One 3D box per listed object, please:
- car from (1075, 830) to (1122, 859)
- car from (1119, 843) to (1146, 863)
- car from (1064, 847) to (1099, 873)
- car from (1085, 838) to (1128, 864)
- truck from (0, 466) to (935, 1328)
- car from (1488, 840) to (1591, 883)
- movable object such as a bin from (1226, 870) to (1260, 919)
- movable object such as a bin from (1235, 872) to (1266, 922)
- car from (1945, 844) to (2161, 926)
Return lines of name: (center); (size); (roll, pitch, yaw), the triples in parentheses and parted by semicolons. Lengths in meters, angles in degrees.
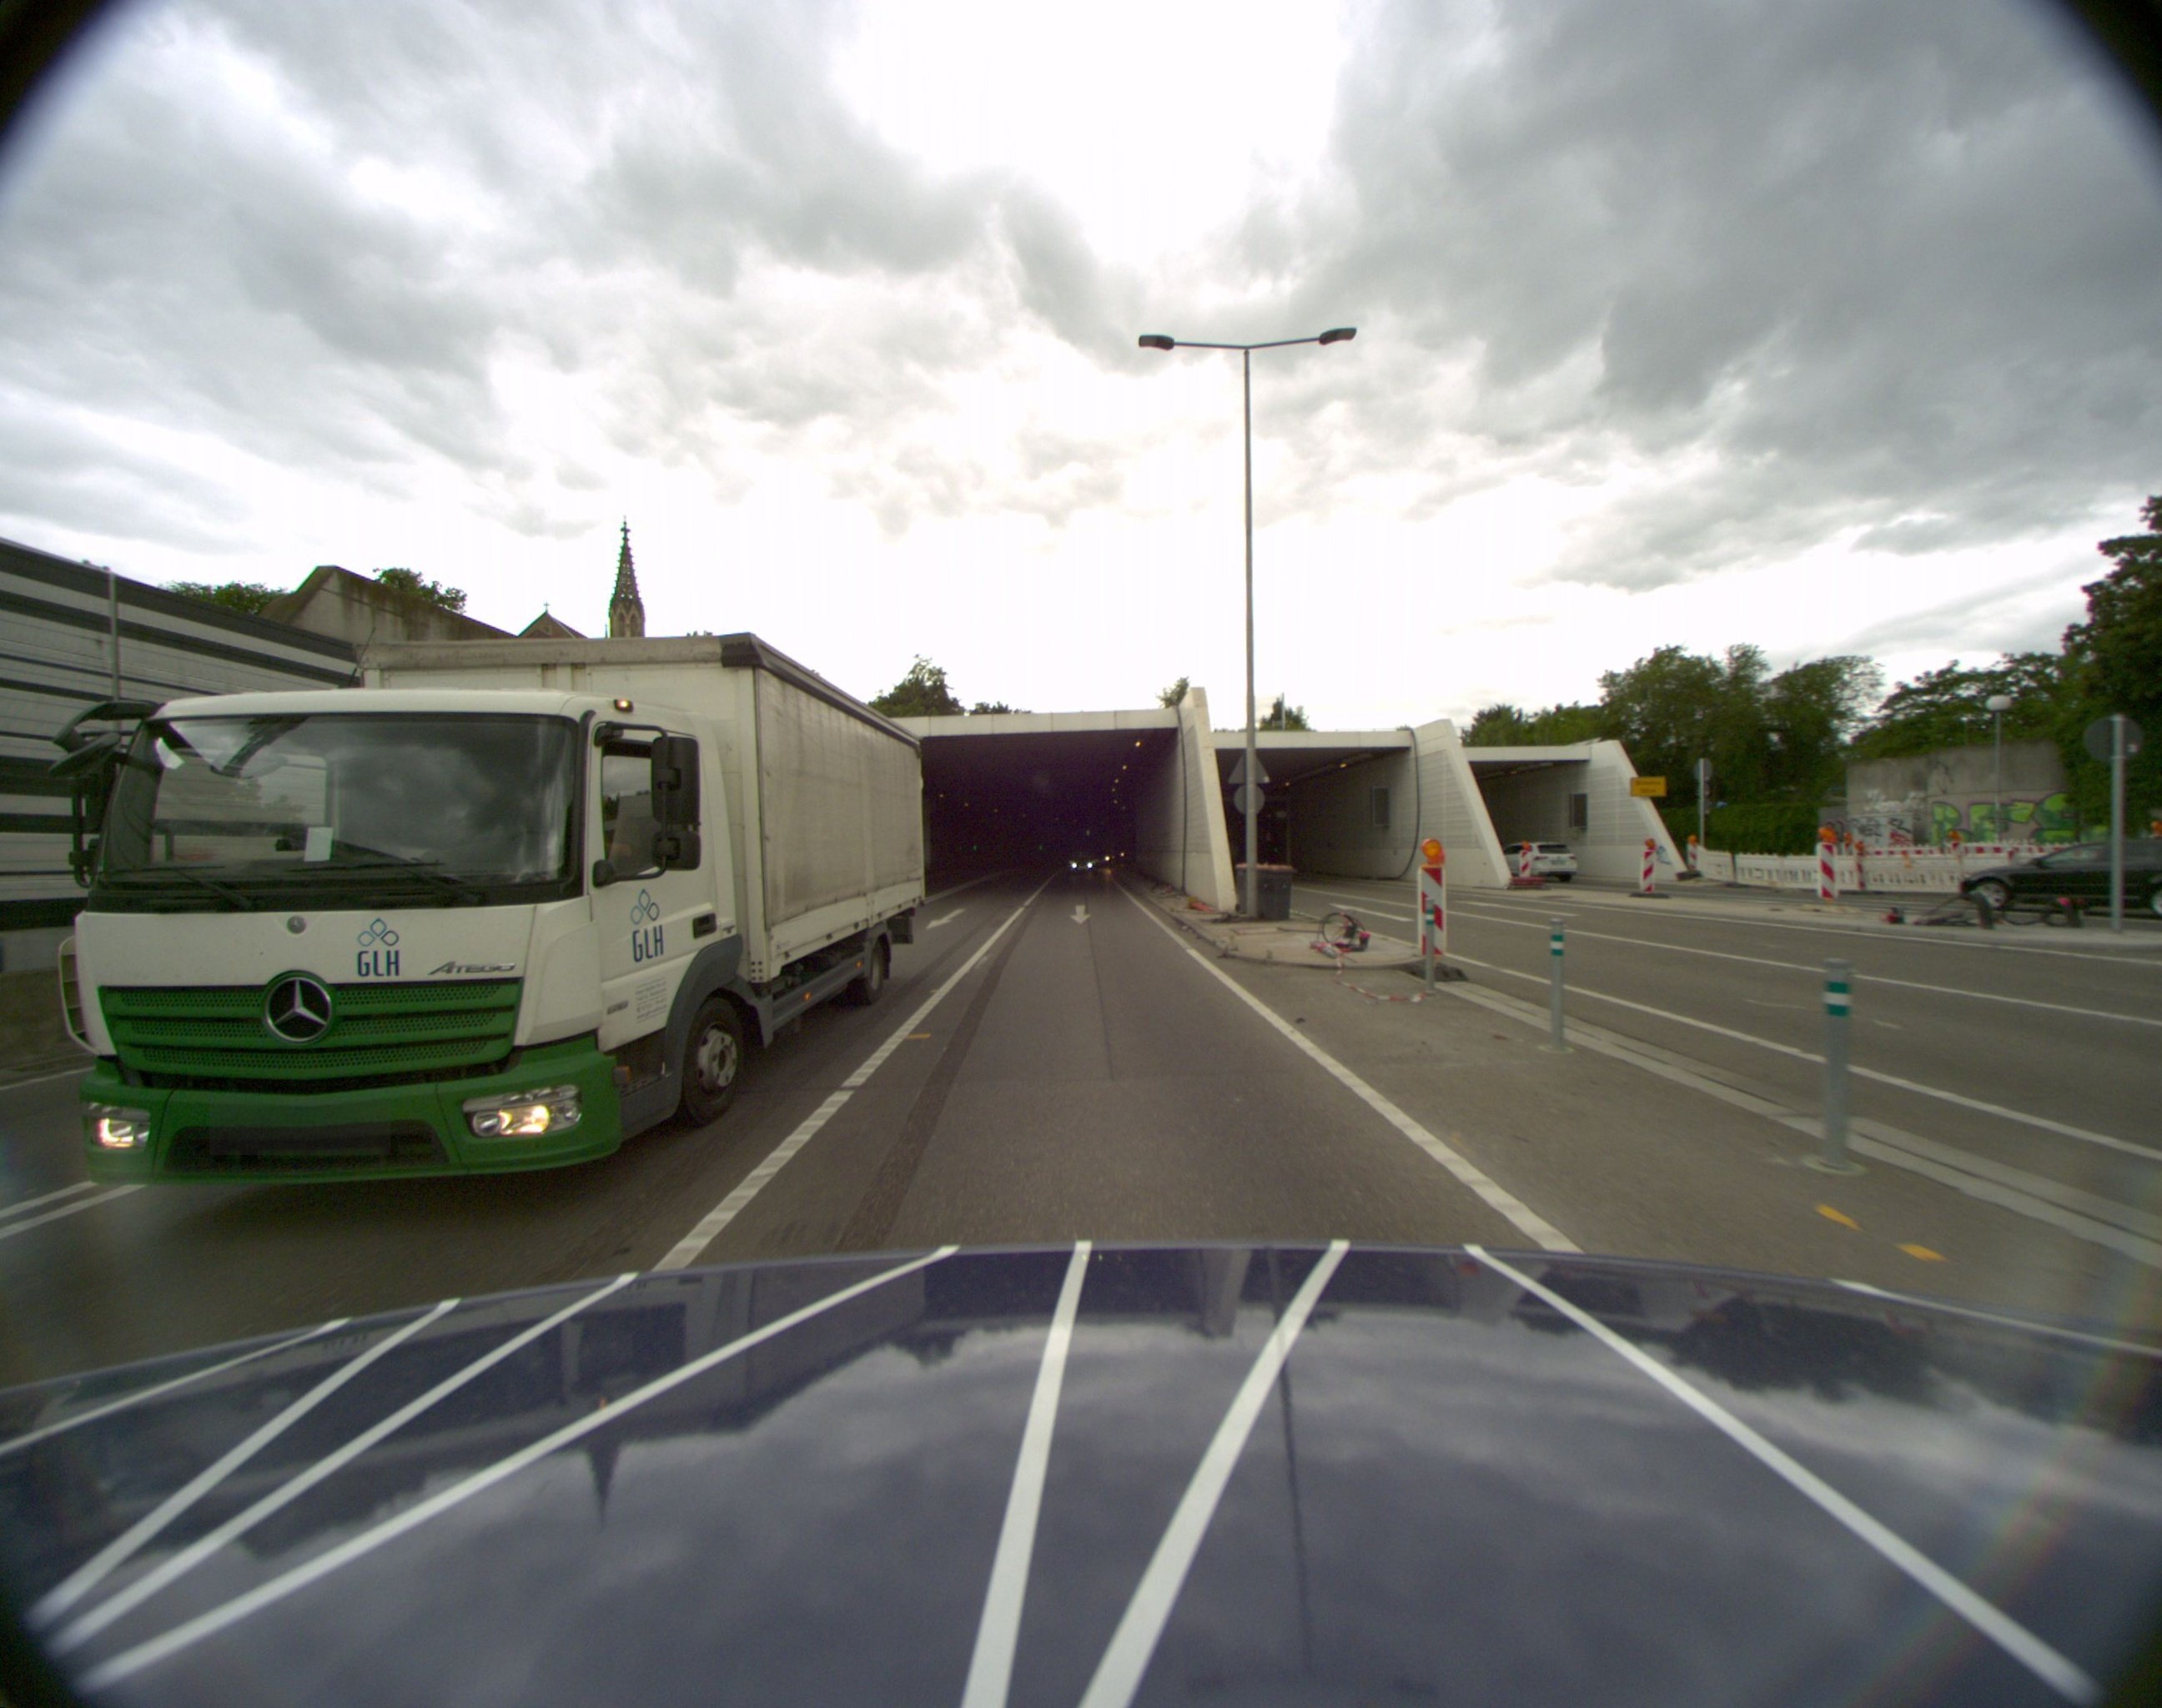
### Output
car: (1.847, -0.968, 76.314); (2.556, 2.752, 7.360); (0, 1, 19)
car: (5.293, -0.124, 77.751); (1.996, 2.002, 4.004); (-2, 0, 15)
car: (0.071, 0.326, 44.739); (1.721, 1.455, 4.001); (-1, 1, 4)
car: (2.120, -0.275, 62.263); (2.372, 1.914, 5.204); (-2, 1, 15)
truck: (-3.368, 0.147, 6.636); (2.636, 3.220, 7.414); (-3, 1, 0)
car: (19.501, 0.275, 32.552); (1.852, 1.652, 4.375); (-2, 0, 2)
movable object such as a bin: (3.522, 0.874, 16.548); (0.554, 1.003, 0.547); (-3, 1, -4)
movable object such as a bin: (3.582, 0.900, 16.052); (0.490, 1.011, 0.423); (-3, 1, -5)
car: (19.003, 0.508, 13.762); (1.868, 1.342, 4.194); (-2, 0, -2)
